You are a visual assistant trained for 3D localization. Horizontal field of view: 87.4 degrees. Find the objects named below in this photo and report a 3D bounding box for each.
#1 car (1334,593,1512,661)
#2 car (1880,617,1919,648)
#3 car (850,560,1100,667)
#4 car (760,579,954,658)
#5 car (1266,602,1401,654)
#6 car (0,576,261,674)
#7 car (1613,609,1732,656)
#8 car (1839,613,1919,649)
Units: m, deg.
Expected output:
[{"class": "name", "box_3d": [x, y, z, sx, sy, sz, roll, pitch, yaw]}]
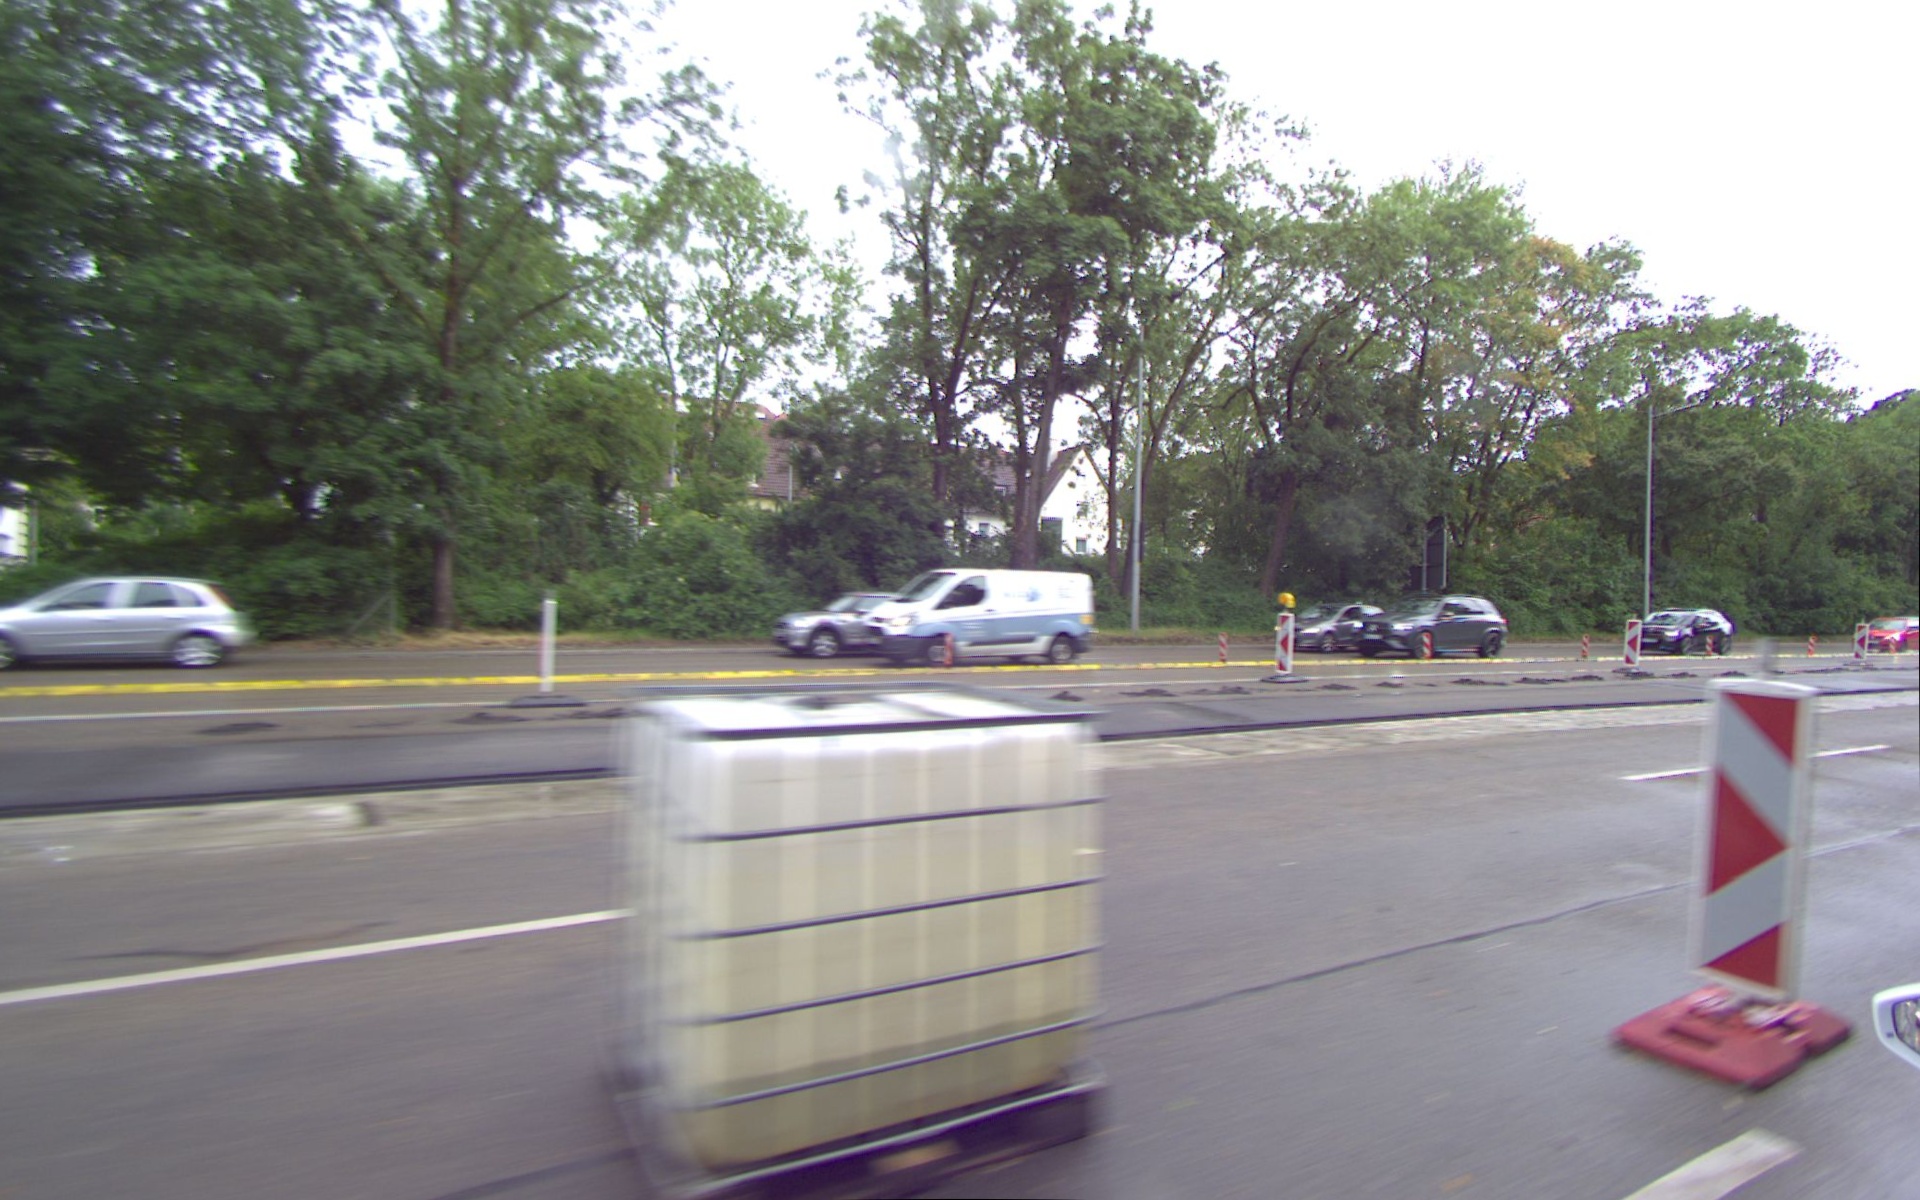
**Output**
[{"class": "car", "box_3d": [13.038, 0.743, 28.248, 4.952, 1.748, 2.012, 1, 1, -29]}, {"class": "car", "box_3d": [48.602, 1.645, 50.944, 4.098, 1.516, 1.672, 1, -1, -29]}, {"class": "car", "box_3d": [0.358, 0.280, 20.799, 4.844, 1.998, 1.984, 1, 1, -30]}, {"class": "car", "box_3d": [-2.307, 0.423, 22.704, 3.953, 1.643, 1.818, 1, 1, -30]}, {"class": "car", "box_3d": [11.233, 0.837, 30.163, 3.951, 1.439, 1.638, 1, 0, -29]}, {"class": "car", "box_3d": [-13.407, 0.377, 15.954, 3.595, 1.419, 1.671, 1, 1, -29]}, {"class": "car", "box_3d": [24.694, 1.103, 34.791, 4.146, 1.507, 1.768, 1, 0, -29]}, {"class": "car", "box_3d": [39.365, 1.329, 42.790, 3.964, 1.419, 1.671, 1, 0, -29]}]
